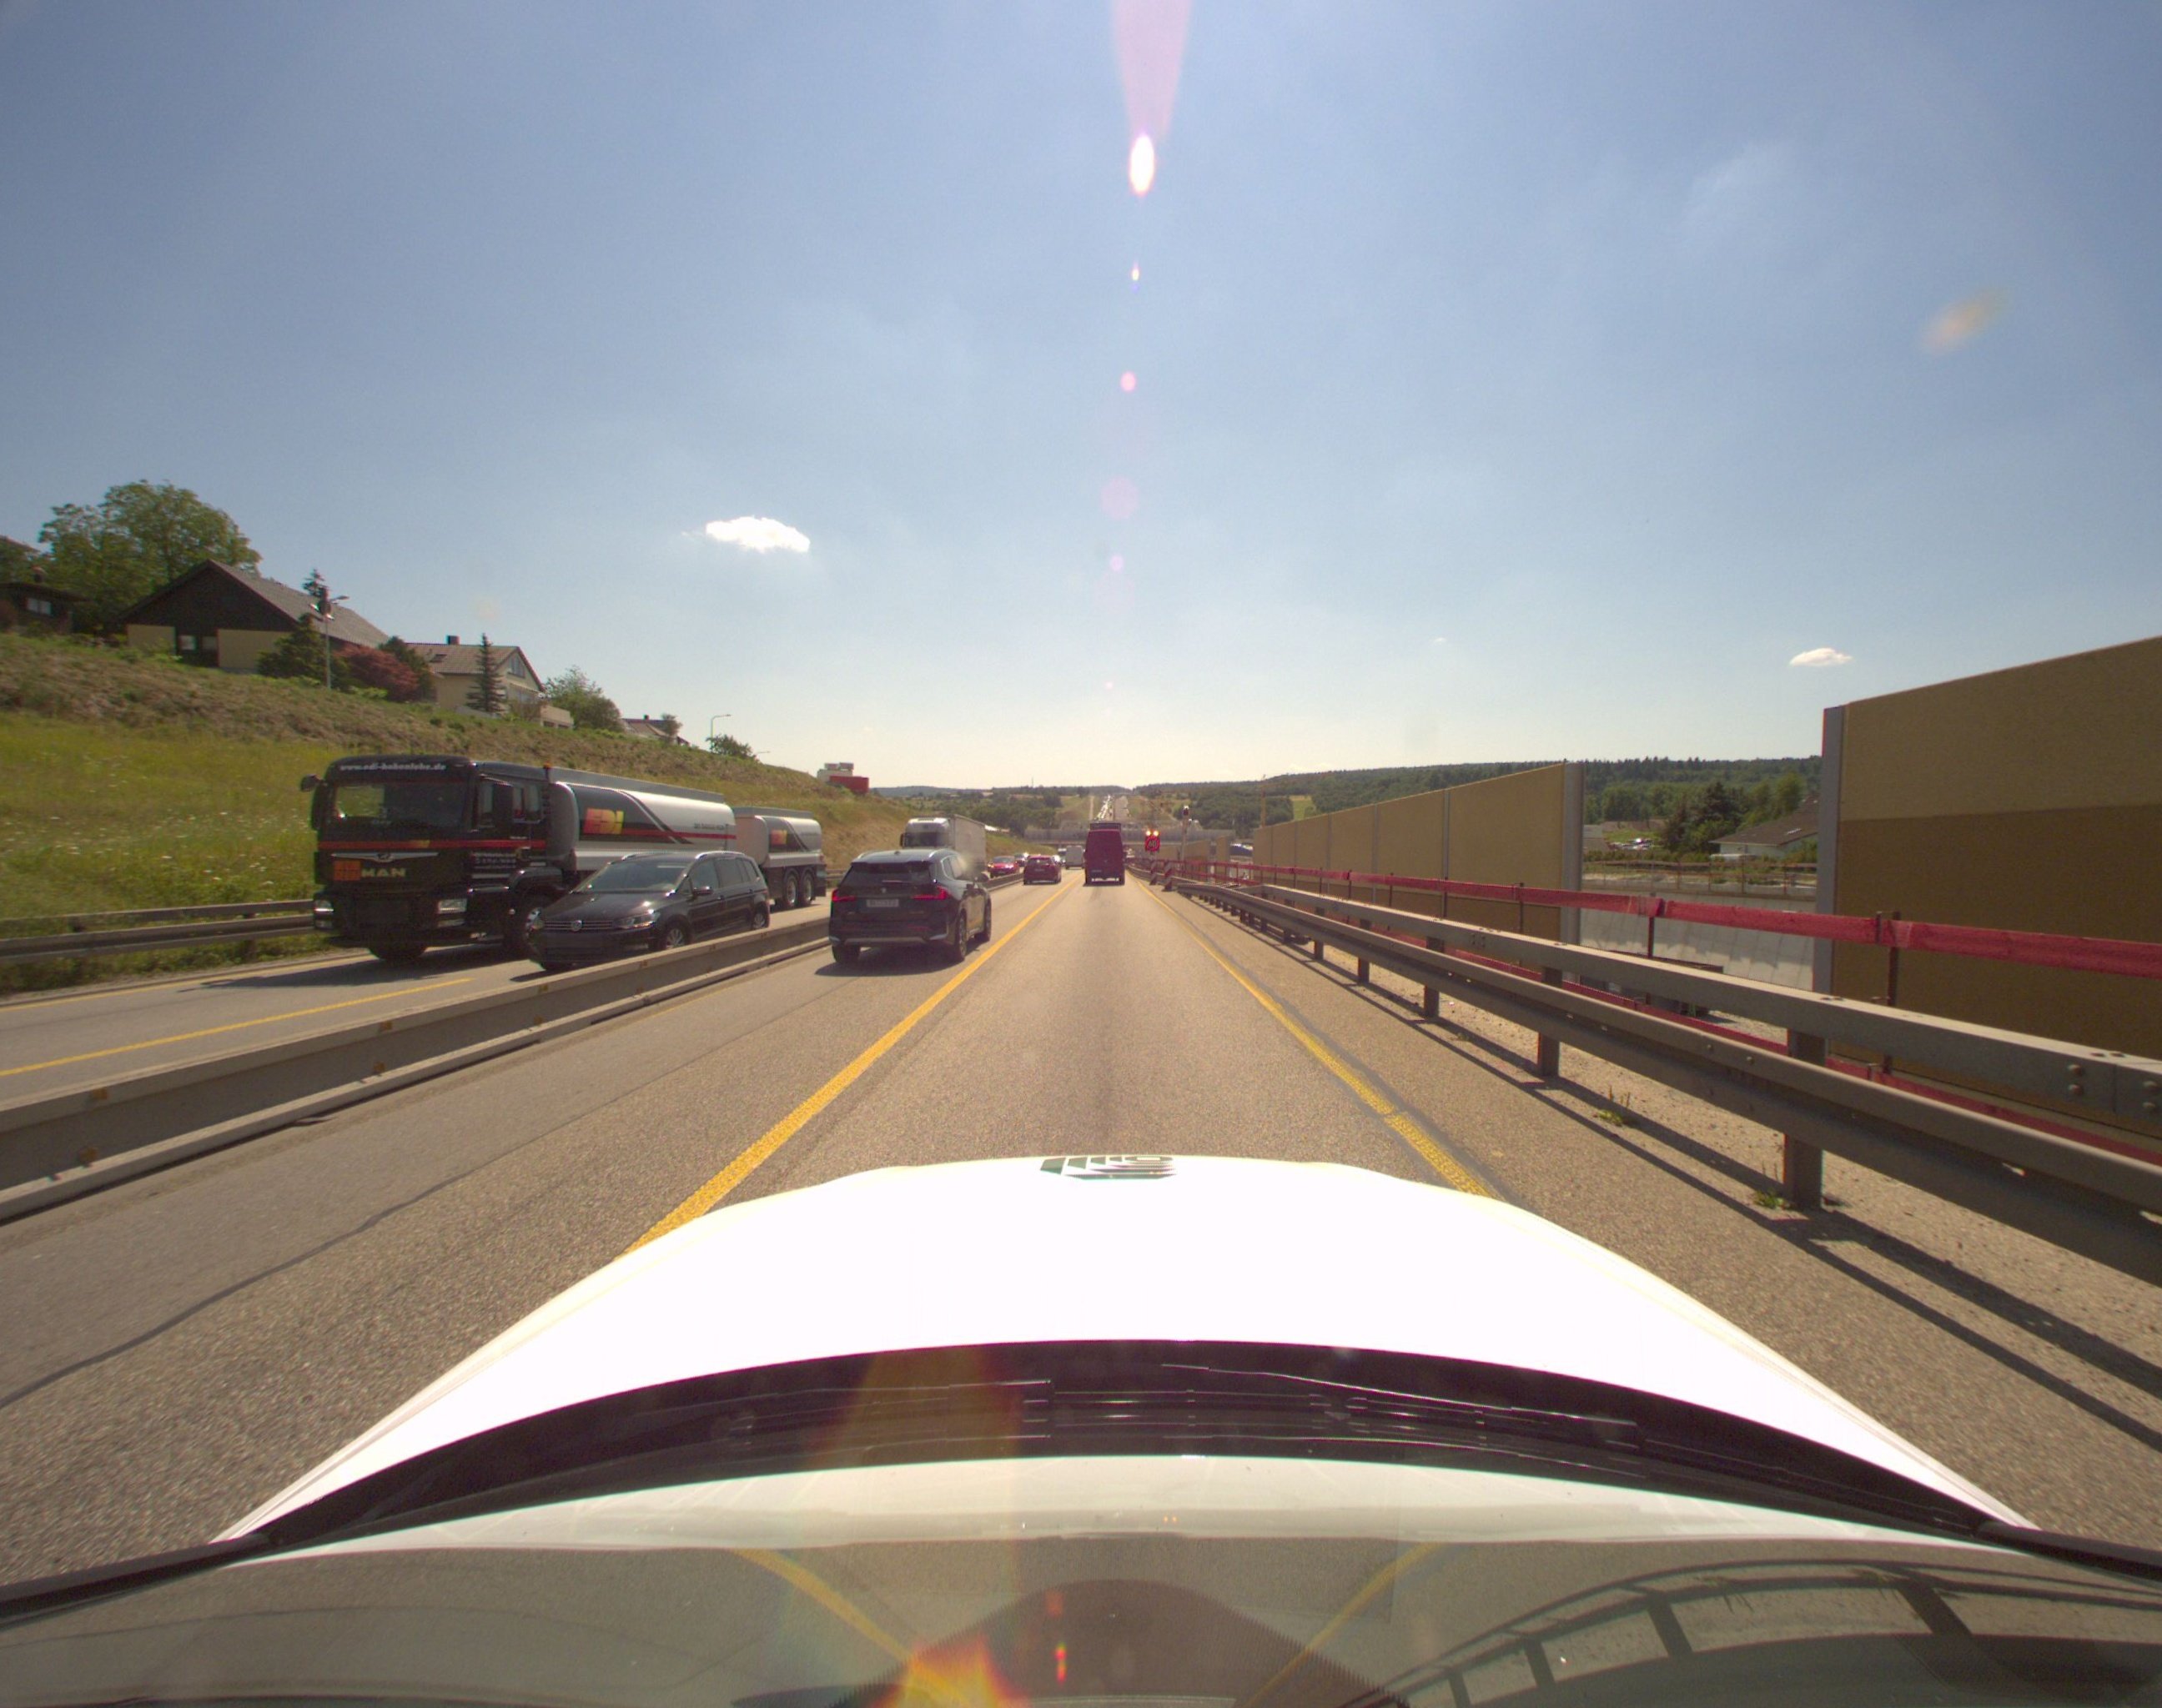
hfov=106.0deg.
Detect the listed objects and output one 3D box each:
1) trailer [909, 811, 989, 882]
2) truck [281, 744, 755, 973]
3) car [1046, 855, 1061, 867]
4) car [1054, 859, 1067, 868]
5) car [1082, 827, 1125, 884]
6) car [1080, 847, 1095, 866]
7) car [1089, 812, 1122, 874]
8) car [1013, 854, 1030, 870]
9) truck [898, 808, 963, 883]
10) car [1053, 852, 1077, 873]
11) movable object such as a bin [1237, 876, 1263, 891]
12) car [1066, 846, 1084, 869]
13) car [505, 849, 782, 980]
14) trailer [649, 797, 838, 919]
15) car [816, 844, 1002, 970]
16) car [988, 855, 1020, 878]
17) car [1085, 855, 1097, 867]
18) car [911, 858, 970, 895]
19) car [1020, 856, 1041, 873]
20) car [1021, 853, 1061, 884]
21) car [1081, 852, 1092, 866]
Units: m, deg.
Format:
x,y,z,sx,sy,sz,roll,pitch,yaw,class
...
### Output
x,y,z,sx,sy,sz,roll,pitch,yaw,class
-8.707,-0.458,55.733,2.776,4.182,13.982,-1,0,1,trailer
-9.590,0.050,15.759,2.716,3.142,8.962,-1,0,2,truck
-3.875,0.944,114.294,1.833,1.654,5.372,-2,0,1,car
-3.471,1.603,137.895,1.948,1.499,5.091,-1,0,1,car
1.132,0.076,40.995,1.981,2.690,4.625,-1,0,1,car
0.898,0.329,105.835,1.769,2.330,4.207,-1,0,1,car
2.151,-0.897,71.620,2.611,5.032,10.399,-1,0,2,car
-7.592,1.040,103.953,1.792,1.926,4.108,-2,0,1,car
-8.867,-0.475,48.559,2.736,4.182,5.290,-1,0,1,truck
-1.316,0.726,69.020,1.833,1.654,4.165,-2,0,1,car
29.433,5.152,142.297,3.151,2.446,7.898,1,-1,2,movable object such as a bin
-0.652,0.349,89.004,1.769,2.441,4.207,-1,0,1,car
-6.363,0.757,12.541,1.712,1.635,4.501,-1,0,2,car
-9.382,0.094,23.511,2.603,3.001,6.373,-1,0,2,trailer
-2.496,0.711,13.022,1.873,1.618,4.500,-1,0,1,car
-5.152,0.802,54.817,1.663,1.466,4.001,-1,0,1,car
1.546,1.049,122.994,1.769,1.670,4.030,-1,0,1,car
-5.706,0.882,33.486,1.659,1.394,3.906,-1,0,1,car
-5.070,1.052,81.983,1.826,1.666,4.414,-1,-1,0,car
-2.036,0.732,42.322,1.770,1.517,4.206,-1,0,1,car
1.000,0.840,143.151,1.769,2.330,4.207,-1,0,1,car
